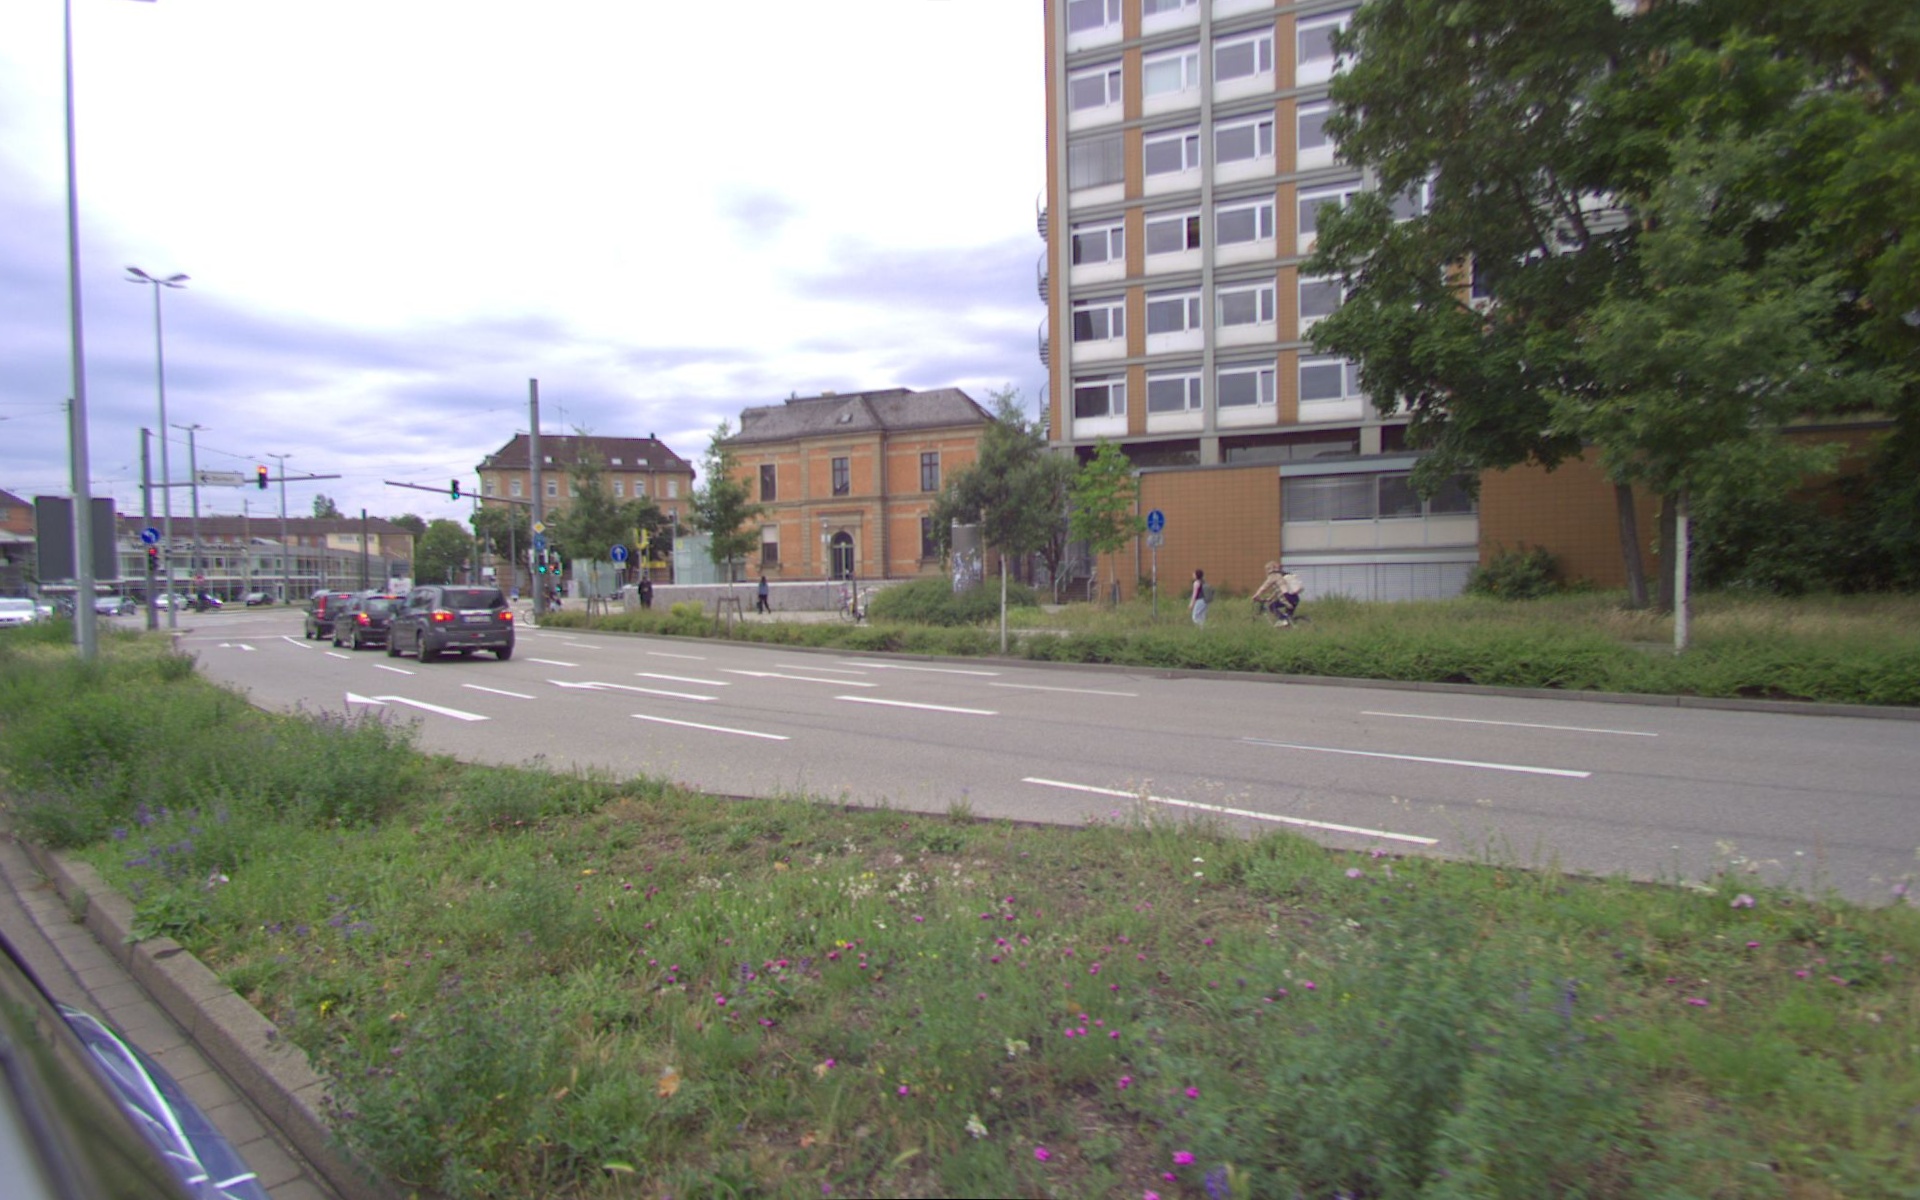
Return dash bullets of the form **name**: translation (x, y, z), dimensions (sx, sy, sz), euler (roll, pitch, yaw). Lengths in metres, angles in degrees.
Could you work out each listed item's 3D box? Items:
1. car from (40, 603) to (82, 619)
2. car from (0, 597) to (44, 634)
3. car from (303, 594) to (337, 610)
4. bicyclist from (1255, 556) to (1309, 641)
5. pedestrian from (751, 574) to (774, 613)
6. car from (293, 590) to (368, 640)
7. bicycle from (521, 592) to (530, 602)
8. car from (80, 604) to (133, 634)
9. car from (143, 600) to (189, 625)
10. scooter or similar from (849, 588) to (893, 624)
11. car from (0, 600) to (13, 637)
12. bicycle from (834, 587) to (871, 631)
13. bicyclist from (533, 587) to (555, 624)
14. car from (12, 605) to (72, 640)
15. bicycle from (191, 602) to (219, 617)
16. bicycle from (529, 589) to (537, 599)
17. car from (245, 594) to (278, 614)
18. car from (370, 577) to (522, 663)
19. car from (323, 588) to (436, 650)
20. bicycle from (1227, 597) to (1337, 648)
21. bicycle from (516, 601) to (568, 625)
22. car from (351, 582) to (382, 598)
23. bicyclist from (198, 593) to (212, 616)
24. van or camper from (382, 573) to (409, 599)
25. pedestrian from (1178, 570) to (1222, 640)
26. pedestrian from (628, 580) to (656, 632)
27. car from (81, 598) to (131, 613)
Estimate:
- **car**: translation (-93.173, 1.117, 104.888), dimensions (4.010, 1.572, 1.777), euler (-1, 1, 24)
- **car**: translation (-39.848, 0.652, 42.295), dimensions (1.942, 1.466, 4.202), euler (-2, 1, -37)
- **car**: translation (-78.225, 0.233, 123.780), dimensions (2.333, 1.768, 5.146), euler (-2, 1, -19)
- **bicyclist**: translation (6.152, -0.039, 19.316), dimensions (0.712, 1.582, 0.707), euler (0, 1, 45)
- **pedestrian**: translation (-8.813, -0.295, 45.139), dimensions (0.737, 1.747, 0.687), euler (-1, 0, -36)
- **car**: translation (-20.628, 0.468, 33.120), dimensions (1.598, 1.527, 3.671), euler (-1, 0, -39)
- **bicycle**: translation (-48.318, -0.342, 112.546), dimensions (0.823, 1.038, 2.405), euler (-2, 1, -22)
- **car**: translation (-62.948, 1.366, 74.688), dimensions (1.965, 2.029, 4.013), euler (-2, 1, -25)
- **car**: translation (-67.617, 1.014, 86.257), dimensions (1.965, 2.029, 4.013), euler (-2, 1, -22)
- **scooter or similar**: translation (-3.331, 0.210, 37.962), dimensions (0.629, 1.312, 1.754), euler (-1, 1, 36)
- **car**: translation (-52.989, 1.052, 54.322), dimensions (1.965, 2.029, 4.013), euler (-2, 1, -25)
- **bicycle**: translation (-3.720, 0.281, 34.846), dimensions (0.835, 1.459, 2.261), euler (-2, 1, -17)
- **bicyclist**: translation (-19.176, 0.238, 46.662), dimensions (0.801, 1.669, 0.796), euler (-1, 1, -33)
- **car**: translation (-56.943, 1.377, 62.866), dimensions (1.966, 2.029, 4.012), euler (-2, 1, -31)
- **bicycle**: translation (-56.491, 0.705, 75.739), dimensions (0.525, 1.078, 1.599), euler (-1, 1, 28)
- **bicycle**: translation (-47.601, -0.703, 112.860), dimensions (0.742, 1.038, 2.405), euler (-2, 1, -22)
- **car**: translation (-73.730, 0.432, 106.836), dimensions (1.965, 2.029, 4.013), euler (-2, 1, -22)
- **car**: translation (-11.615, 0.411, 22.715), dimensions (1.848, 1.738, 4.718), euler (0, 0, -42)
- **car**: translation (-15.669, 0.488, 27.214), dimensions (1.847, 1.519, 4.486), euler (1, -1, -40)
- **bicycle**: translation (6.135, 0.404, 19.347), dimensions (1.884, 0.889, 0.707), euler (1, 2, 45)
- **bicycle**: translation (-19.244, 0.594, 46.638), dimensions (2.084, 1.036, 0.797), euler (-3, 1, -32)
- **car**: translation (-85.075, -1.431, 145.090), dimensions (2.335, 2.149, 5.143), euler (-1, 1, -13)
- **bicyclist**: translation (-56.493, 0.343, 75.705), dimensions (0.515, 1.651, 0.649), euler (-1, 1, 29)
- **van or camper**: translation (-56.021, -1.365, 100.571), dimensions (2.247, 2.546, 5.591), euler (-1, 0, -29)
- **pedestrian**: translation (5.425, 0.109, 22.856), dimensions (0.755, 1.553, 0.555), euler (0, 1, 45)
- **pedestrian**: translation (-12.261, 0.227, 38.989), dimensions (0.808, 1.995, 0.660), euler (-1, 0, -36)
- **car**: translation (-91.226, 0.579, 108.205), dimensions (3.841, 1.452, 1.738), euler (-2, 1, -32)
